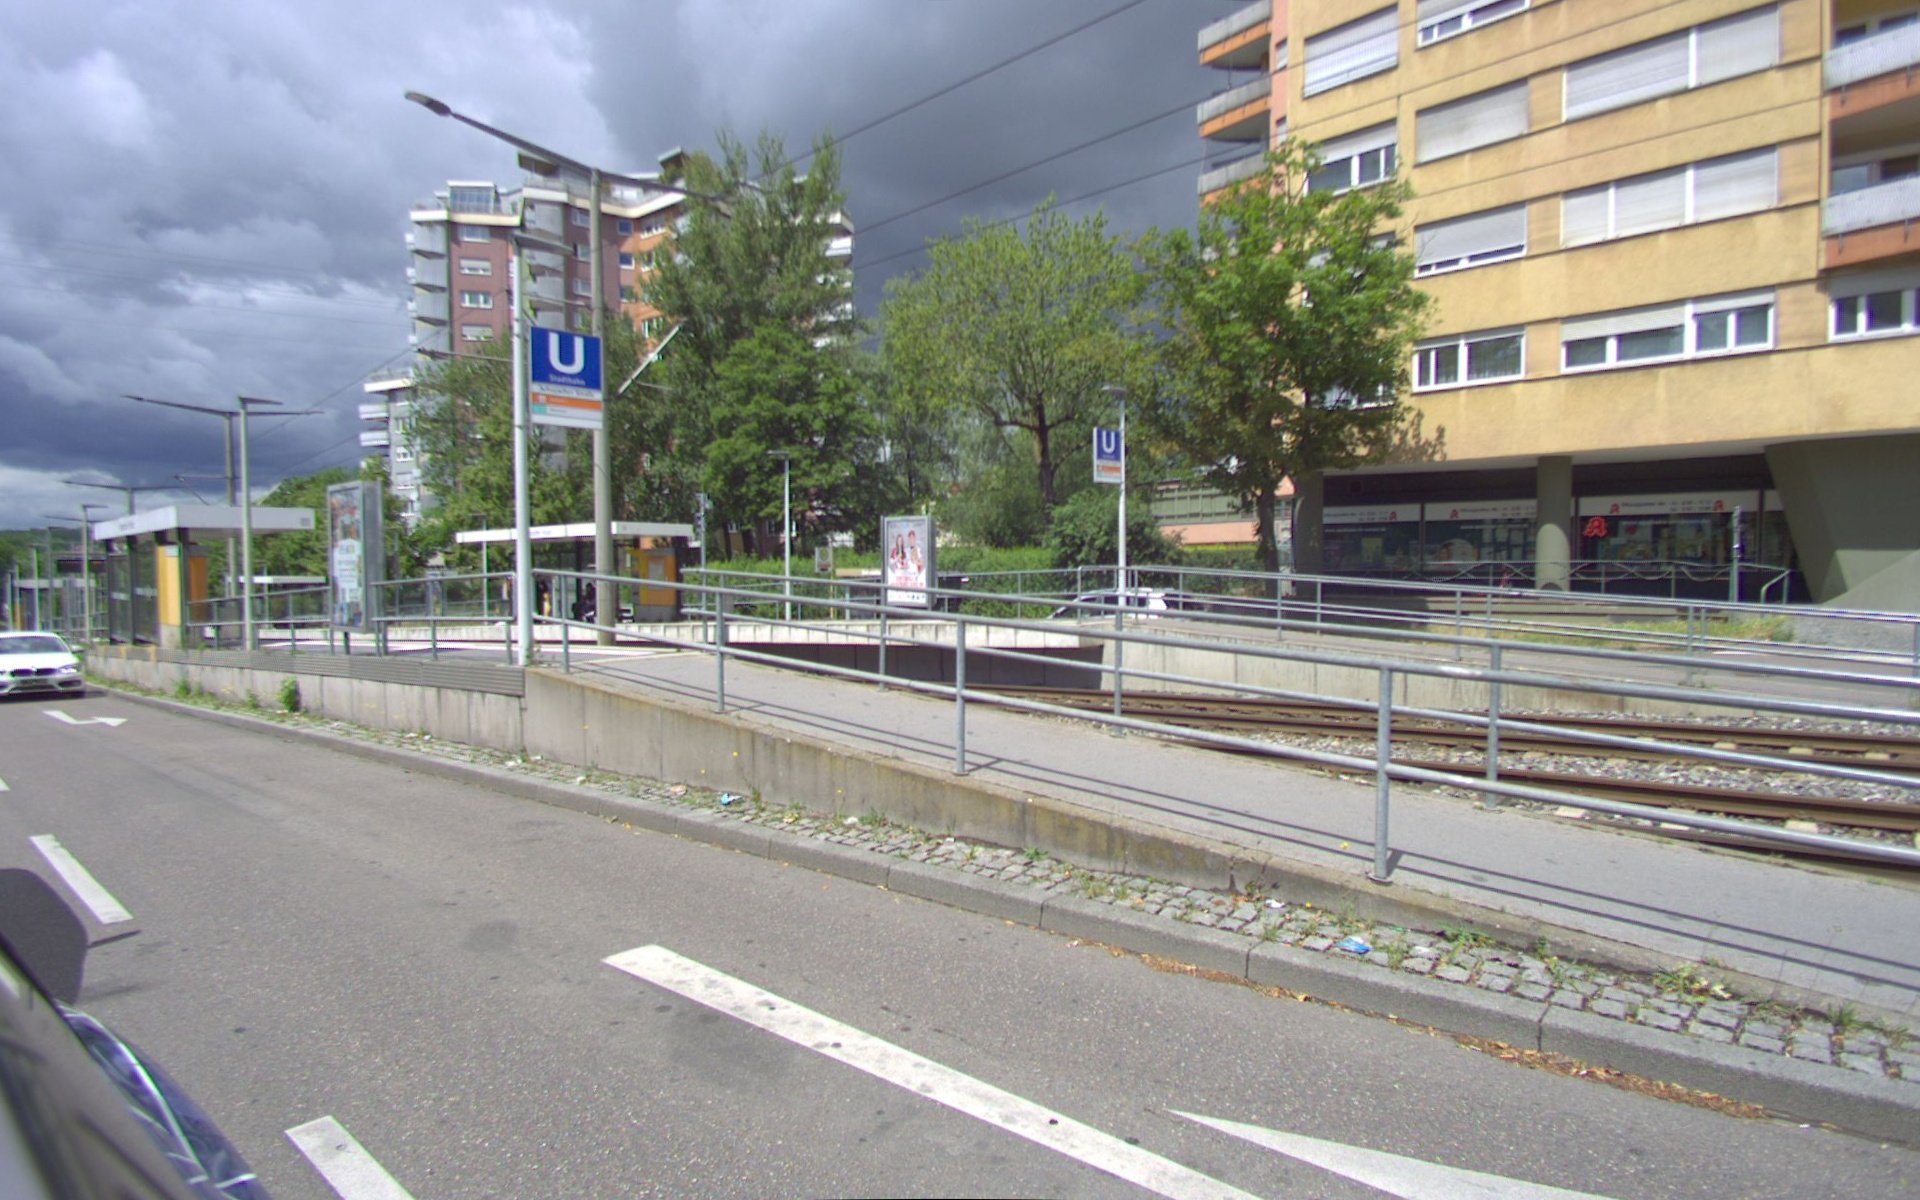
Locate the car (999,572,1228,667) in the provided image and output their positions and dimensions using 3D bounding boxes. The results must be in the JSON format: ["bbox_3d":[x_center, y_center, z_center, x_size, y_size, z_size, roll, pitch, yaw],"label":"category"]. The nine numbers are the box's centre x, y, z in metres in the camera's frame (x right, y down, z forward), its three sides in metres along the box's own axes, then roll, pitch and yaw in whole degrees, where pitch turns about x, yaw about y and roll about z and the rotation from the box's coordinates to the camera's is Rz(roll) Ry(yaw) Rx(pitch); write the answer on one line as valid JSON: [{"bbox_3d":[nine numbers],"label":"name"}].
[{"bbox_3d":[3.182,0.416,21.592,4.509,1.815,1.972,-1,-2,42],"label":"car"}]

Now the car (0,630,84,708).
[{"bbox_3d":[-20.022,1.405,21.435,3.998,1.472,1.710,-1,0,42],"label":"car"}]

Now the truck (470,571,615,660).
[{"bbox_3d":[-16.685,0.653,40.168,7.260,3.247,2.389,-2,-1,42],"label":"truck"}]
